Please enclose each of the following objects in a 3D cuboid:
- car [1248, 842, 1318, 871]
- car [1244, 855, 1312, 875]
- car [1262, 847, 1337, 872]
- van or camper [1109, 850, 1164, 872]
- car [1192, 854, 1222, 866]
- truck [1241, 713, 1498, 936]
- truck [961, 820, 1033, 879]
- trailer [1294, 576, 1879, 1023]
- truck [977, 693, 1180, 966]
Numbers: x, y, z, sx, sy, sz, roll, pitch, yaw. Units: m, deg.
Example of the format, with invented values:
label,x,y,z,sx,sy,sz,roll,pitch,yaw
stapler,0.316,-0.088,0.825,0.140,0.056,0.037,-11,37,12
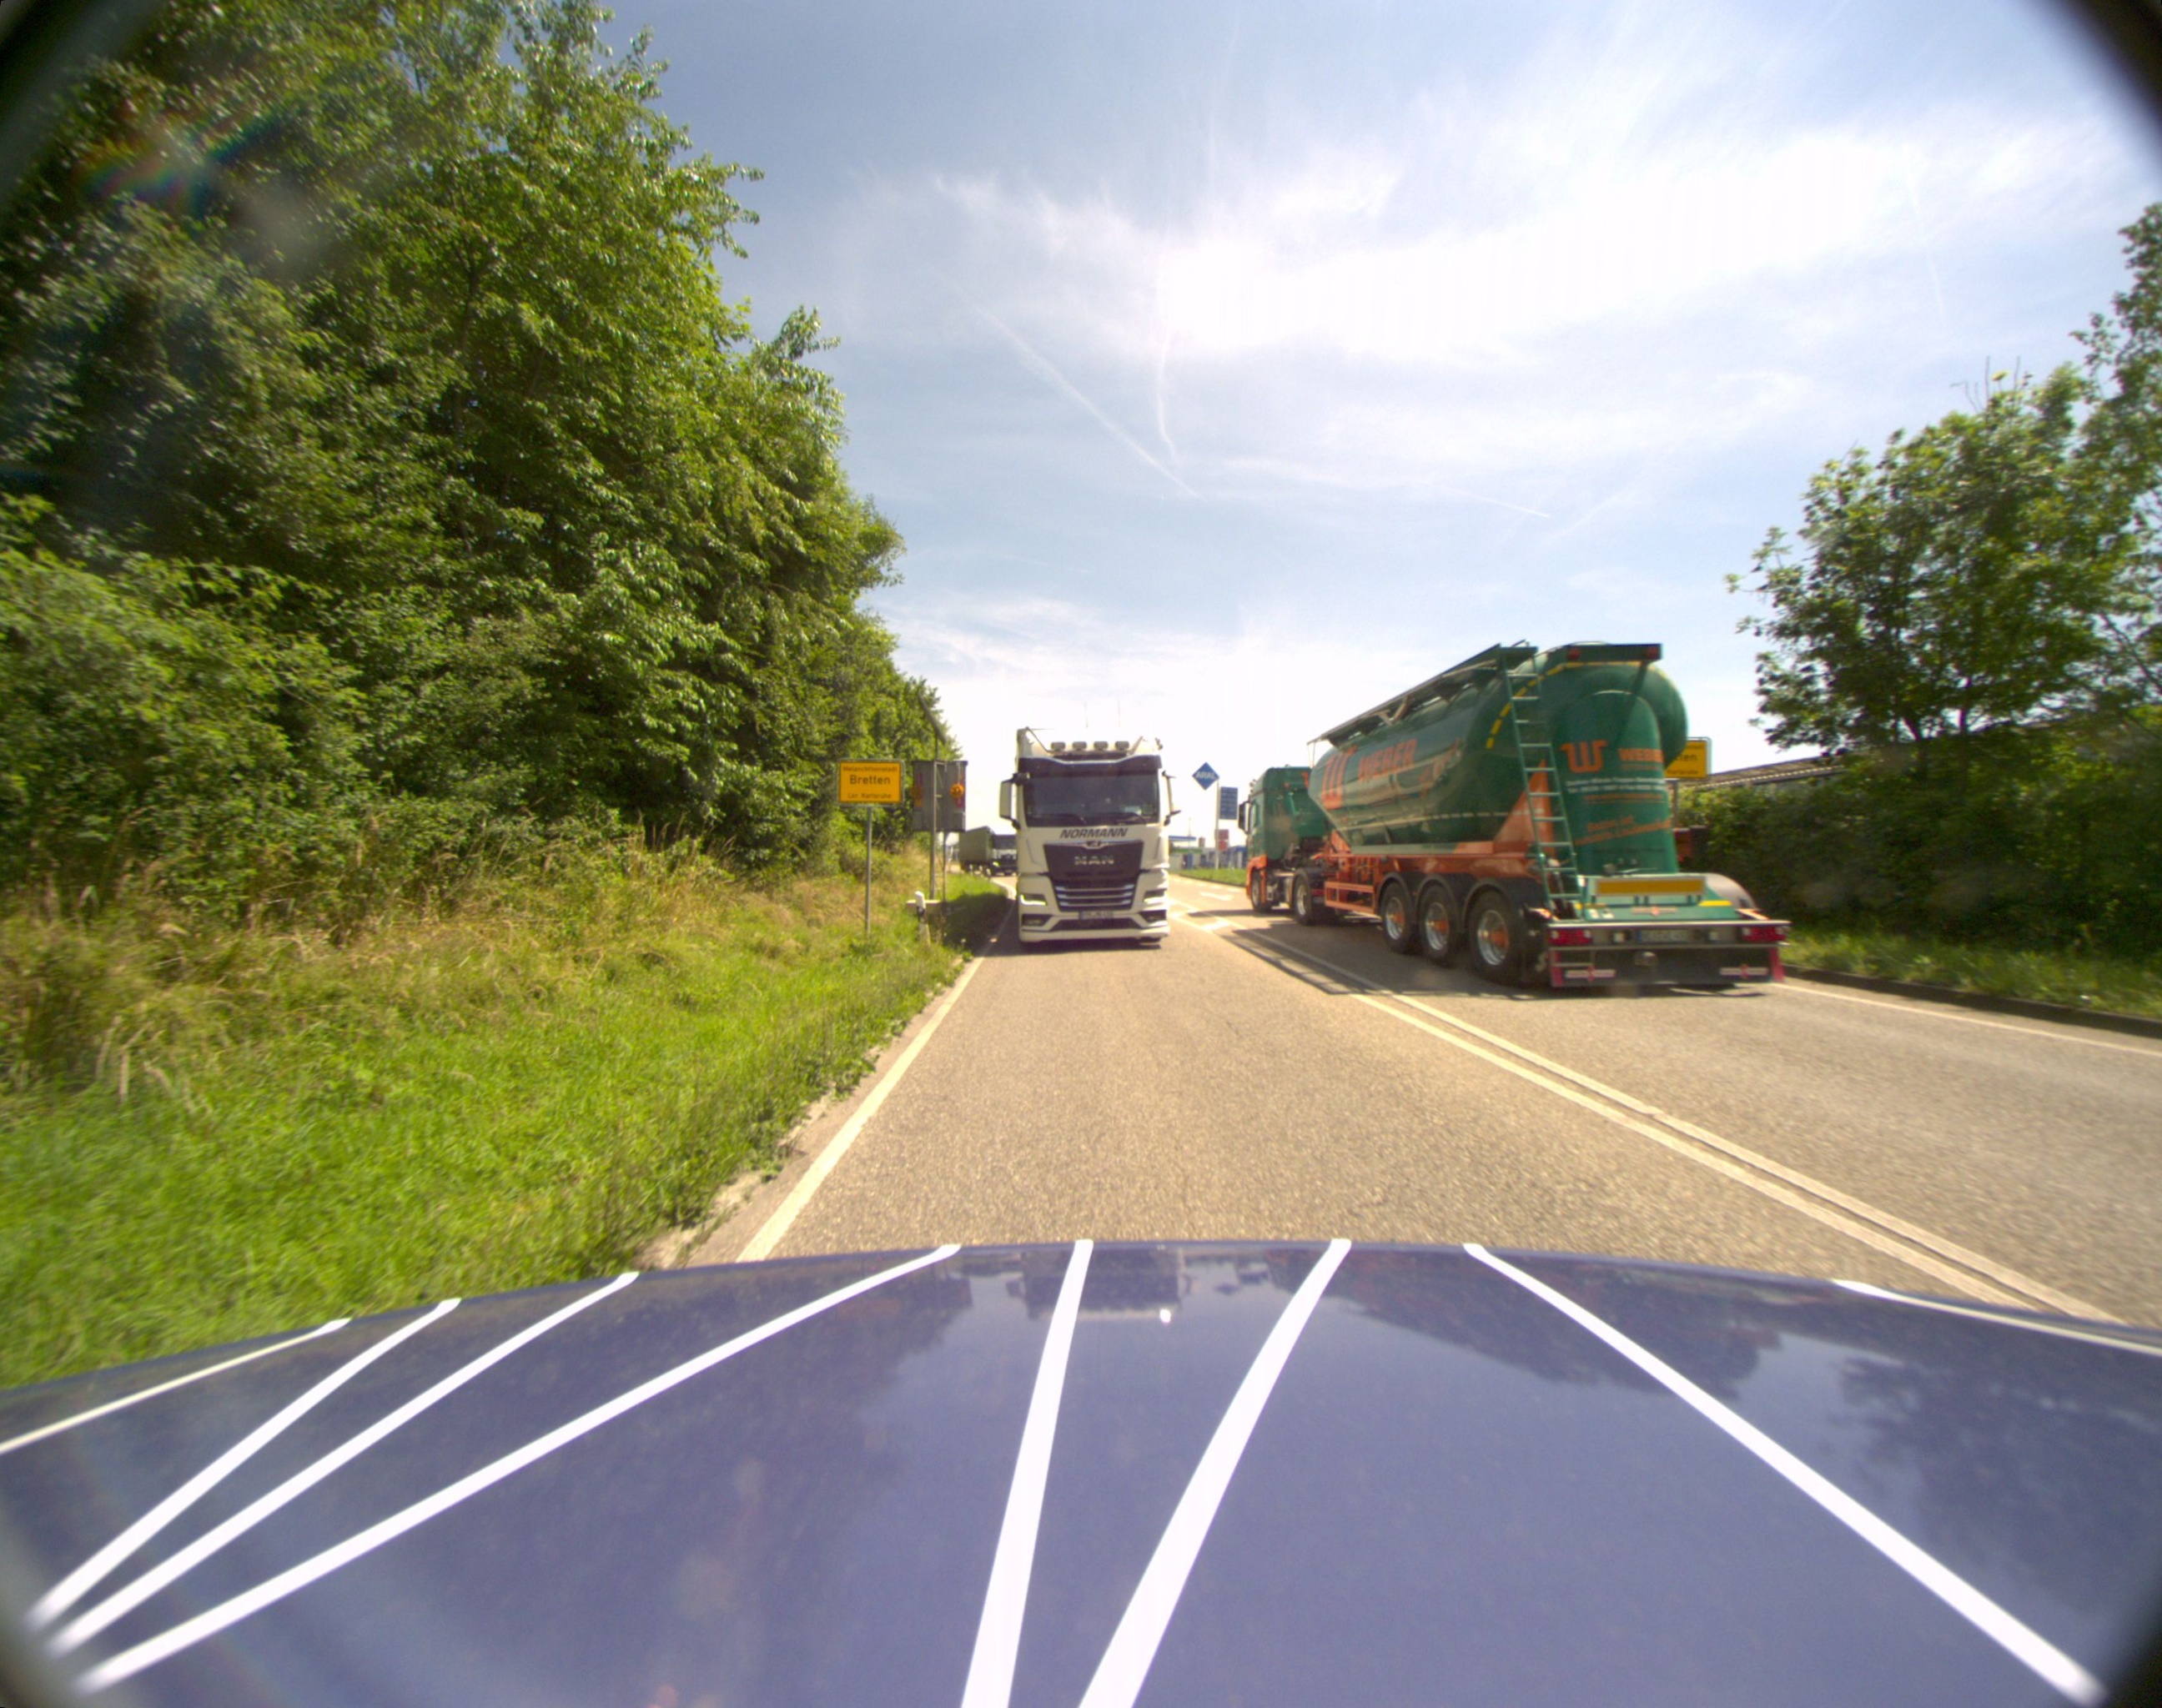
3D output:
label,x,y,z,sx,sy,sz,roll,pitch,yaw
car,12.869,0.132,48.542,3.996,1.740,2.000,0,1,3
car,13.832,0.776,53.466,4.247,1.351,2.000,1,0,1
car,13.154,0.332,45.881,3.996,1.324,2.001,2,0,3
van or camper,5.286,0.658,72.798,4.868,1.893,1.901,-2,0,-22
car,17.740,0.833,107.130,3.992,1.598,1.949,-2,0,16
truck,5.642,-0.502,16.625,2.585,3.658,7.874,-1,0,0
truck,-7.662,-0.503,66.058,2.985,4.447,16.424,-2,2,-17
trailer,5.616,-0.473,11.017,2.584,3.797,8.914,-1,0,1
truck,-0.517,-0.587,20.348,2.981,4.071,17.624,-2,2,-3
